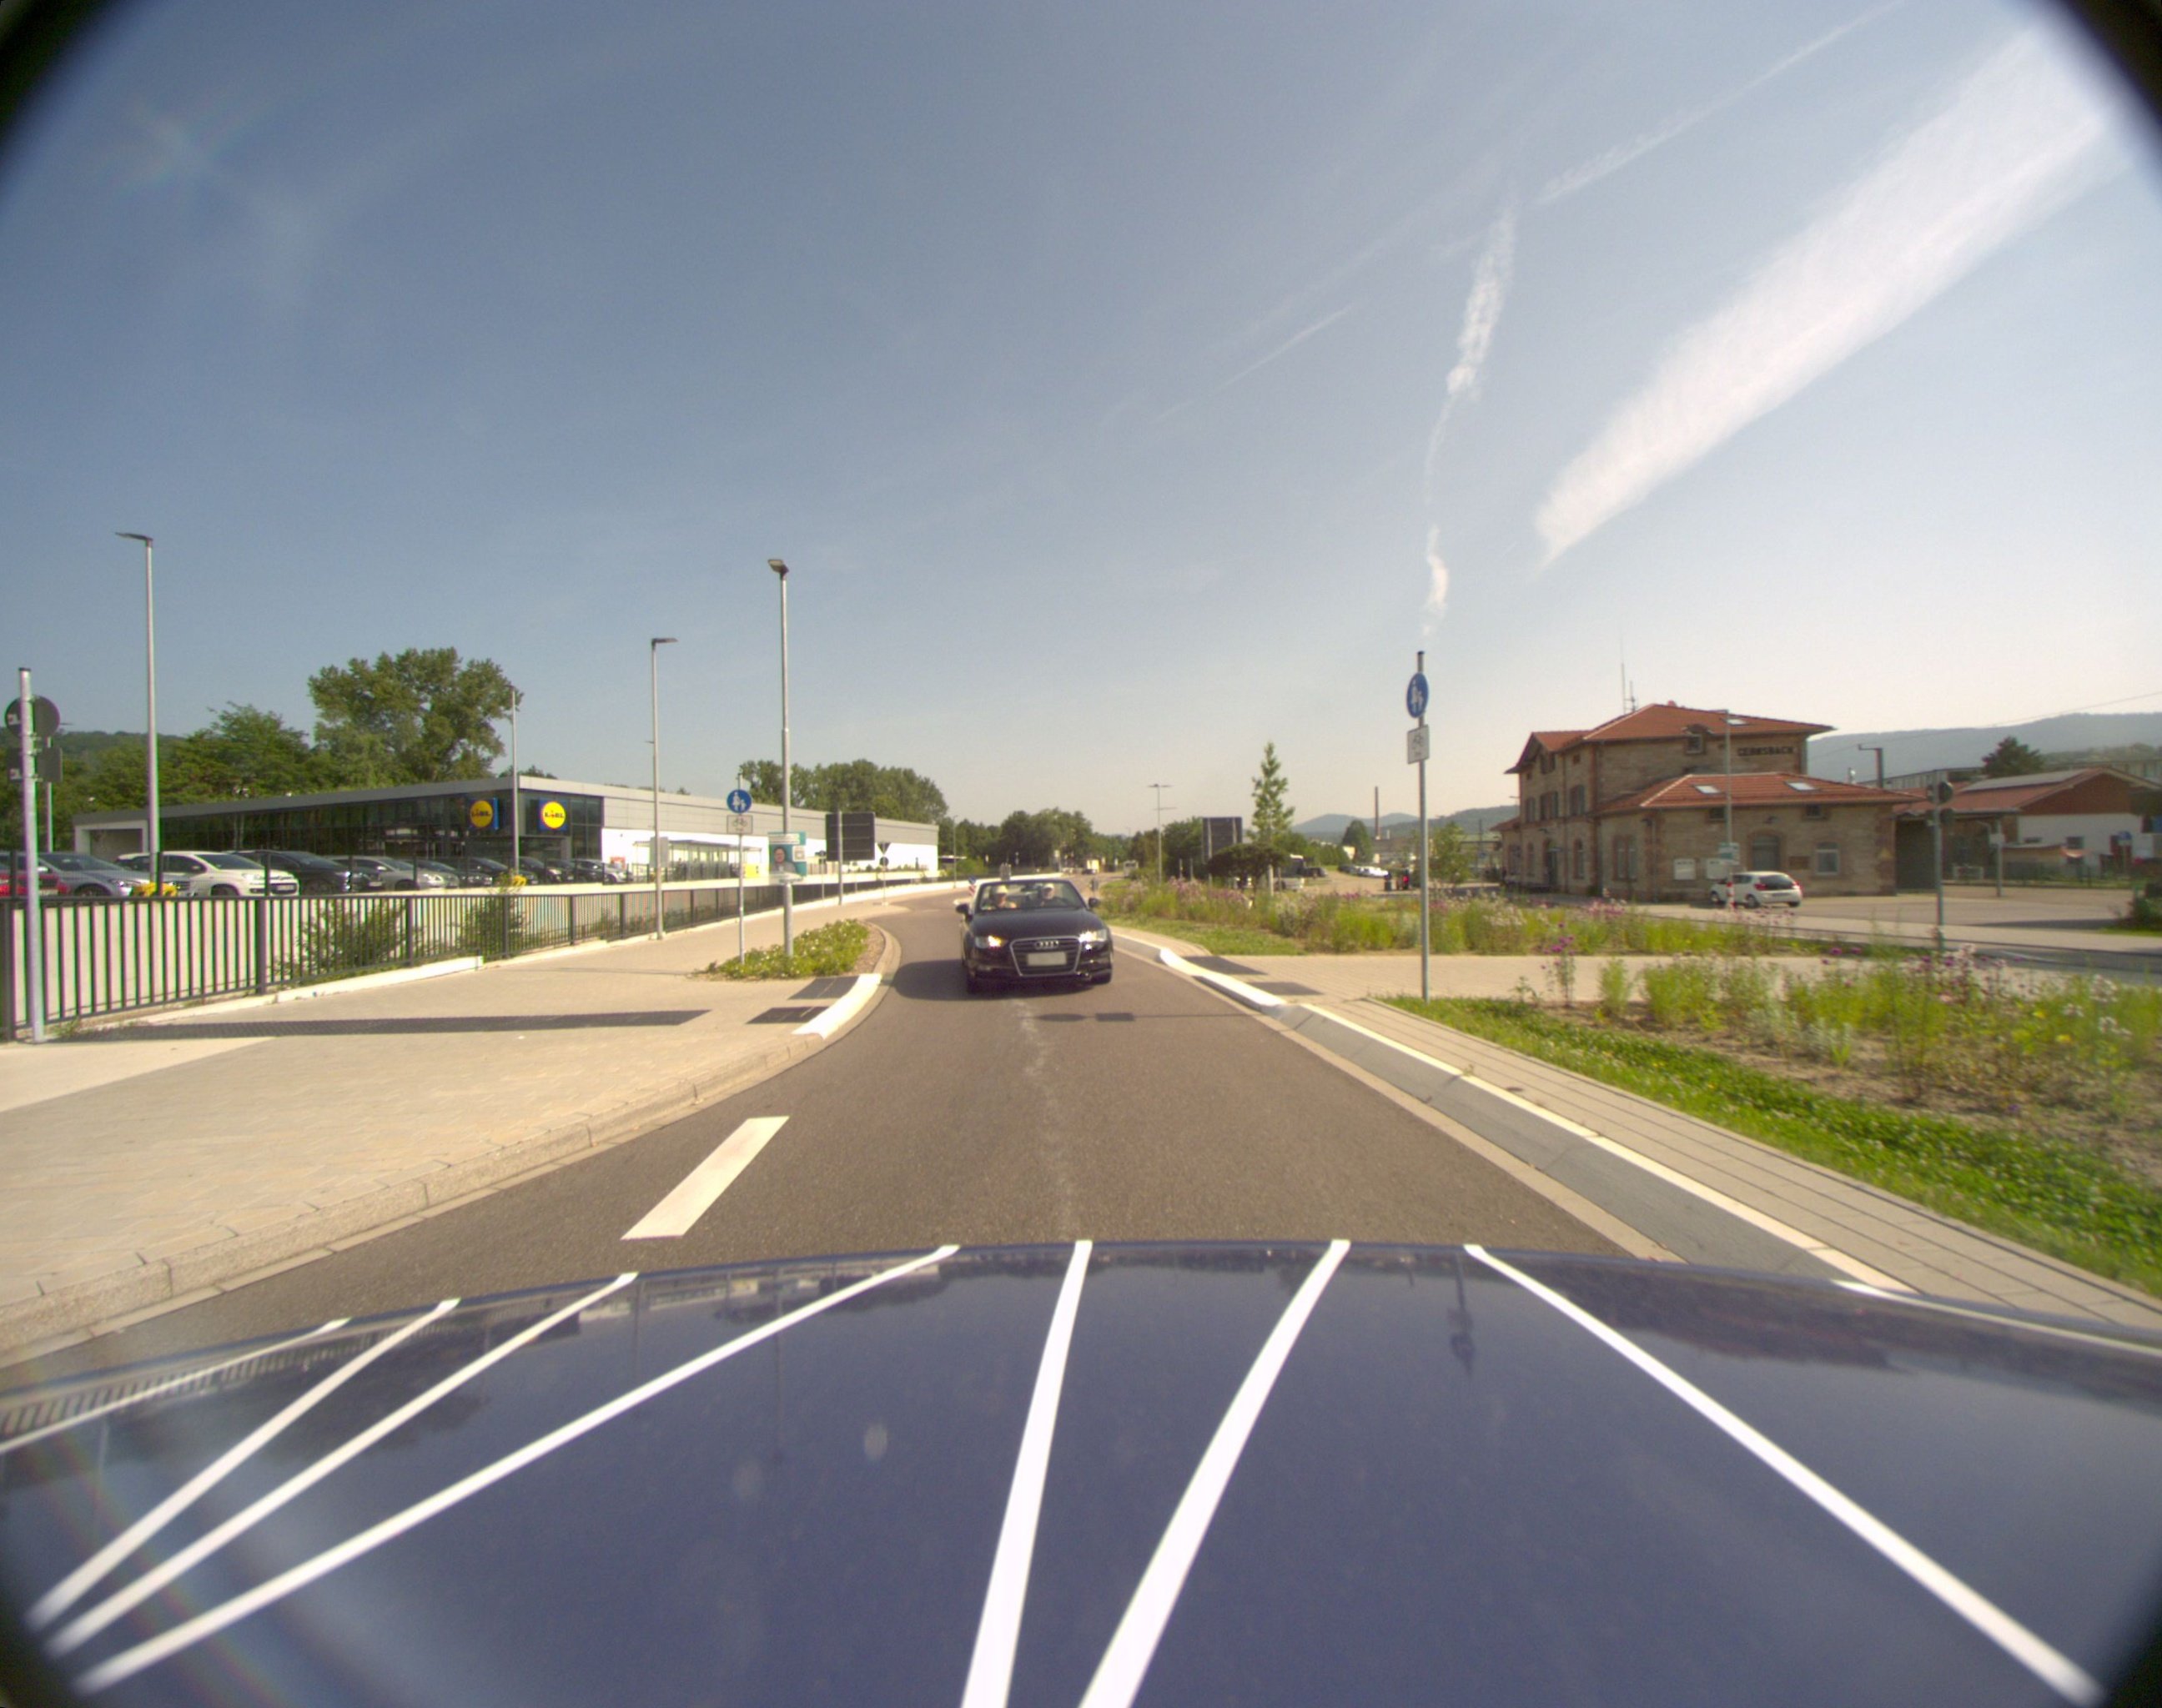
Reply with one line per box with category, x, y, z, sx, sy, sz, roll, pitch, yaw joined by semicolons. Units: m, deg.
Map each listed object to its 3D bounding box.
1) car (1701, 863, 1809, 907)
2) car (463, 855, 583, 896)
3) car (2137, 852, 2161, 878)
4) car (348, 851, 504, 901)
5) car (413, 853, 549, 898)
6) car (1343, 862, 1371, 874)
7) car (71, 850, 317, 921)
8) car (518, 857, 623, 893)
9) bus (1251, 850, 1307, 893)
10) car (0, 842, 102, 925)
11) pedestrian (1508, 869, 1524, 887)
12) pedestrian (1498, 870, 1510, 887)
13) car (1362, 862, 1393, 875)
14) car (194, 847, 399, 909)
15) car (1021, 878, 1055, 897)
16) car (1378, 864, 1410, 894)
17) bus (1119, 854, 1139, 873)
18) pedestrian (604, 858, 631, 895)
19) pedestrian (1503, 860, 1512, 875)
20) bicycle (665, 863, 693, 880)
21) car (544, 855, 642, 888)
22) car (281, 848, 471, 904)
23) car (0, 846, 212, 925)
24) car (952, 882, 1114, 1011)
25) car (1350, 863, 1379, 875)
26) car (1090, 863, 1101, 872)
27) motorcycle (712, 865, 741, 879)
car;28.690;1.274;32.486;1.677;1.559;3.653;-3;1;9
car;-25.411;0.968;34.752;4.000;1.564;1.703;-3;-1;-11
car;69.724;0.712;48.262;1.603;1.486;3.657;-3;1;28
car;-24.280;0.810;28.300;4.000;1.564;1.703;-3;-1;-11
car;-24.704;0.880;31.441;4.000;1.564;1.703;-3;-1;-11
car;46.341;2.410;127.580;3.999;1.717;1.838;-3;0;-5
car;-23.415;0.804;20.224;4.000;1.564;1.703;-3;-1;-11
car;-25.823;1.046;38.529;4.000;1.564;1.703;-3;-1;-11
bus;16.919;1.432;65.696;2.586;3.309;10.593;-4;-1;4
car;-22.691;0.687;14.952;4.022;1.564;1.778;-3;-1;-8
pedestrian;29.118;1.625;50.874;0.789;1.155;0.507;-4;0;14
pedestrian;29.572;1.737;53.108;0.511;1.155;0.507;-4;0;14
car;46.090;2.295;118.114;3.999;1.717;1.838;-3;0;-5
car;-23.661;0.700;23.064;4.000;1.564;1.703;-3;-1;-11
car;-3.645;2.793;63.754;1.783;1.389;3.995;-3;-1;-17
car;23.299;1.824;56.538;1.974;1.953;5.165;-4;-1;22
bus;8.600;1.612;134.968;2.866;3.173;9.123;-2;-1;7
pedestrian;-26.375;1.278;43.235;0.832;2.001;0.863;-4;0;5
pedestrian;32.200;1.027;57.358;0.371;1.155;0.507;-4;0;14
bicycle;-26.537;1.164;50.214;0.626;1.087;1.879;-4;-1;6
car;-26.698;0.955;41.715;4.132;1.564;1.703;-3;-1;-11
car;-23.696;0.739;25.704;4.416;1.564;1.703;-3;-1;-11
car;-22.919;0.732;17.206;4.022;1.564;1.778;-3;-1;-8
car;-0.874;1.102;10.487;1.723;1.314;4.222;-2;-2;-10
car;45.807;2.378;122.868;3.999;1.717;1.838;-3;0;-5
car;3.194;3.094;171.115;1.886;1.783;3.999;-3;-1;-5
motorcycle;-25.939;1.324;55.615;1.881;0.858;0.626;-3;-1;-28
